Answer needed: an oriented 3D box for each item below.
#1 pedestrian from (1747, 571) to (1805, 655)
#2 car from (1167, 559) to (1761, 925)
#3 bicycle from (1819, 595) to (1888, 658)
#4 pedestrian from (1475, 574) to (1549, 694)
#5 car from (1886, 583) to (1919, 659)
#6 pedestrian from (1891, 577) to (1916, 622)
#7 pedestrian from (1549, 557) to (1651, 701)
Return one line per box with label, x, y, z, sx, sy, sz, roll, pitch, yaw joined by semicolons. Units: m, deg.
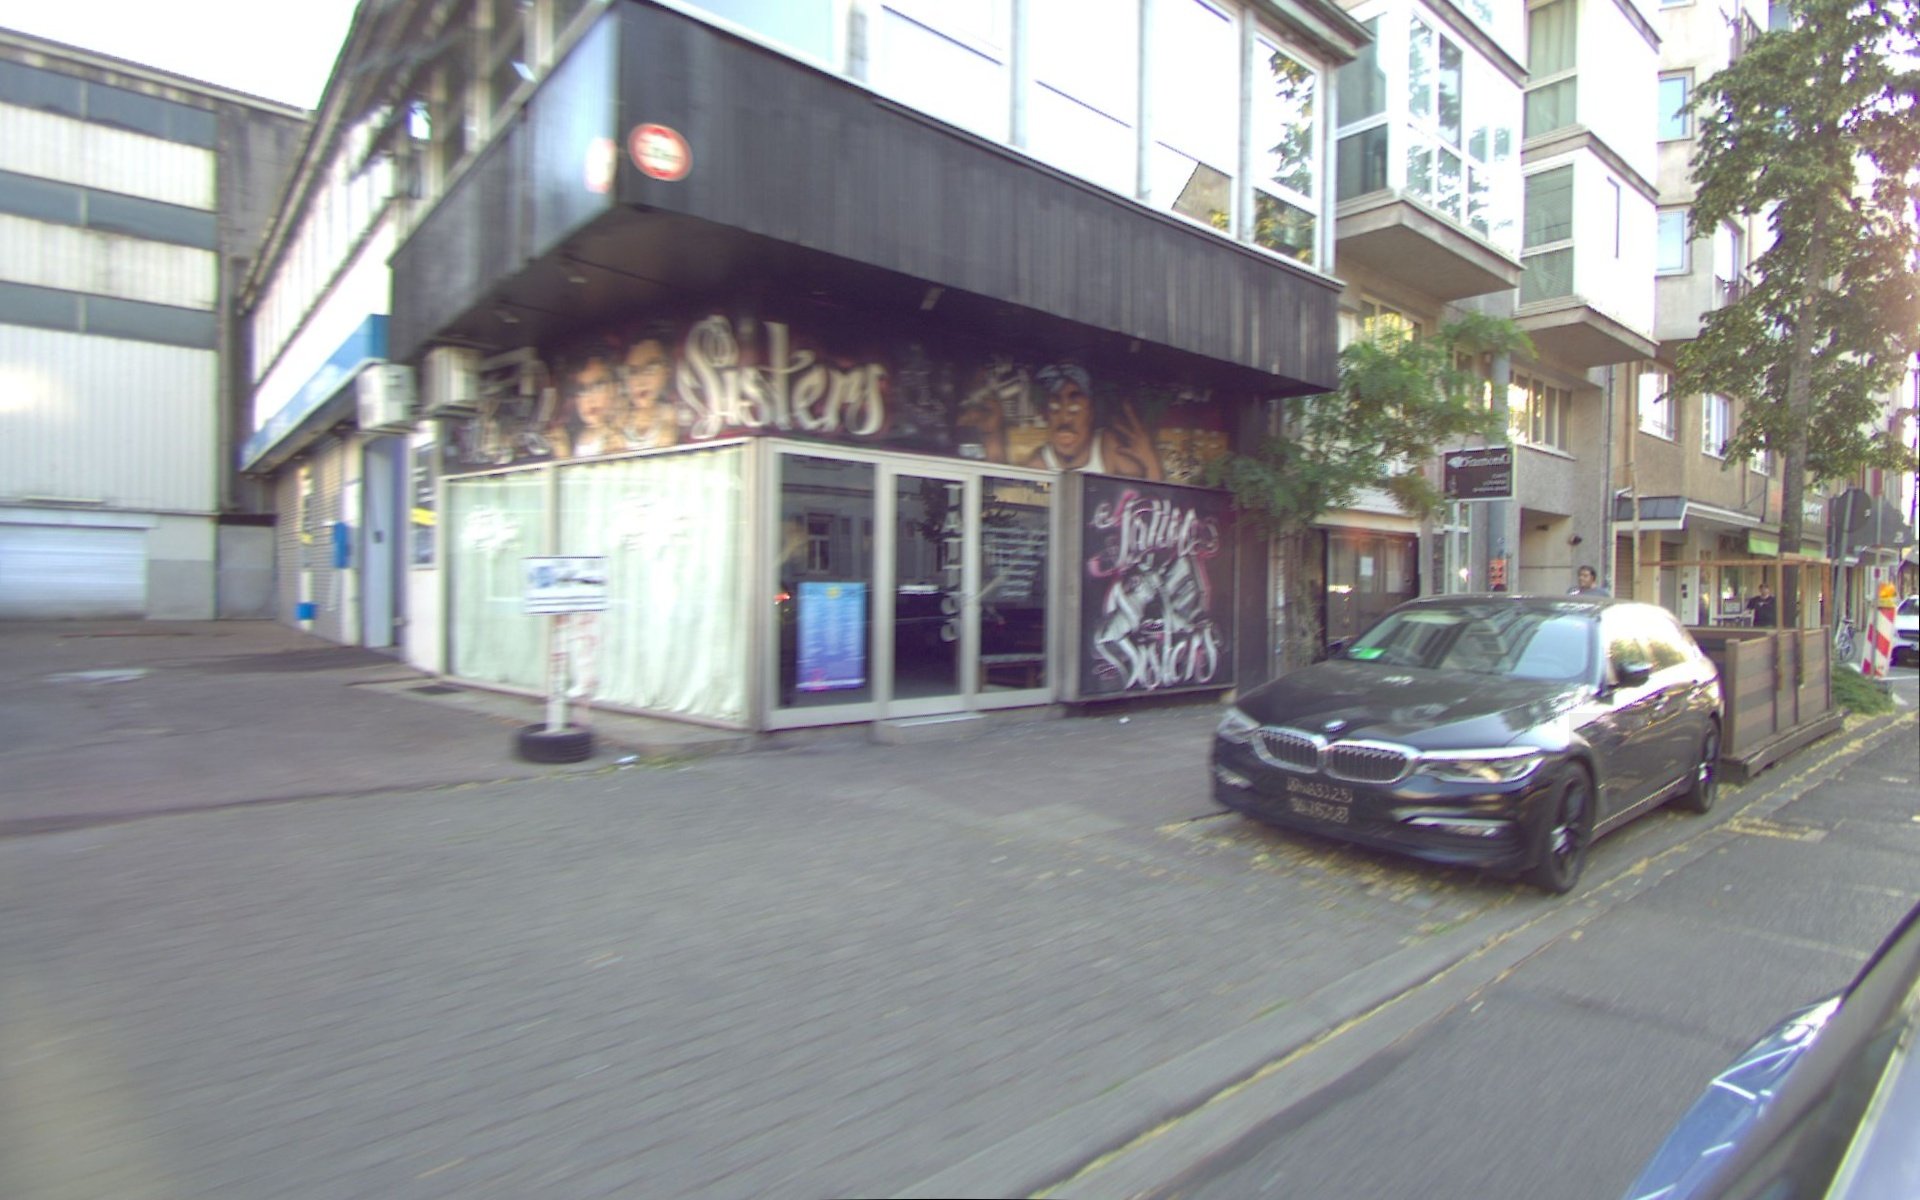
pedestrian;17.284;0.265;21.431;0.688;1.725;0.789;0;2;-40
car;3.545;0.573;6.587;4.767;1.506;1.832;0;3;-43
bicycle;19.610;0.547;22.193;2.014;1.277;0.777;0;3;-40
pedestrian;7.471;0.439;13.698;0.759;1.544;0.612;0;2;-40
car;22.480;0.492;22.688;4.608;1.593;1.884;0;3;-40
pedestrian;39.483;-0.033;42.342;0.821;1.831;0.590;0;3;-41
pedestrian;8.489;0.350;13.426;0.979;1.816;0.857;0;2;-41
